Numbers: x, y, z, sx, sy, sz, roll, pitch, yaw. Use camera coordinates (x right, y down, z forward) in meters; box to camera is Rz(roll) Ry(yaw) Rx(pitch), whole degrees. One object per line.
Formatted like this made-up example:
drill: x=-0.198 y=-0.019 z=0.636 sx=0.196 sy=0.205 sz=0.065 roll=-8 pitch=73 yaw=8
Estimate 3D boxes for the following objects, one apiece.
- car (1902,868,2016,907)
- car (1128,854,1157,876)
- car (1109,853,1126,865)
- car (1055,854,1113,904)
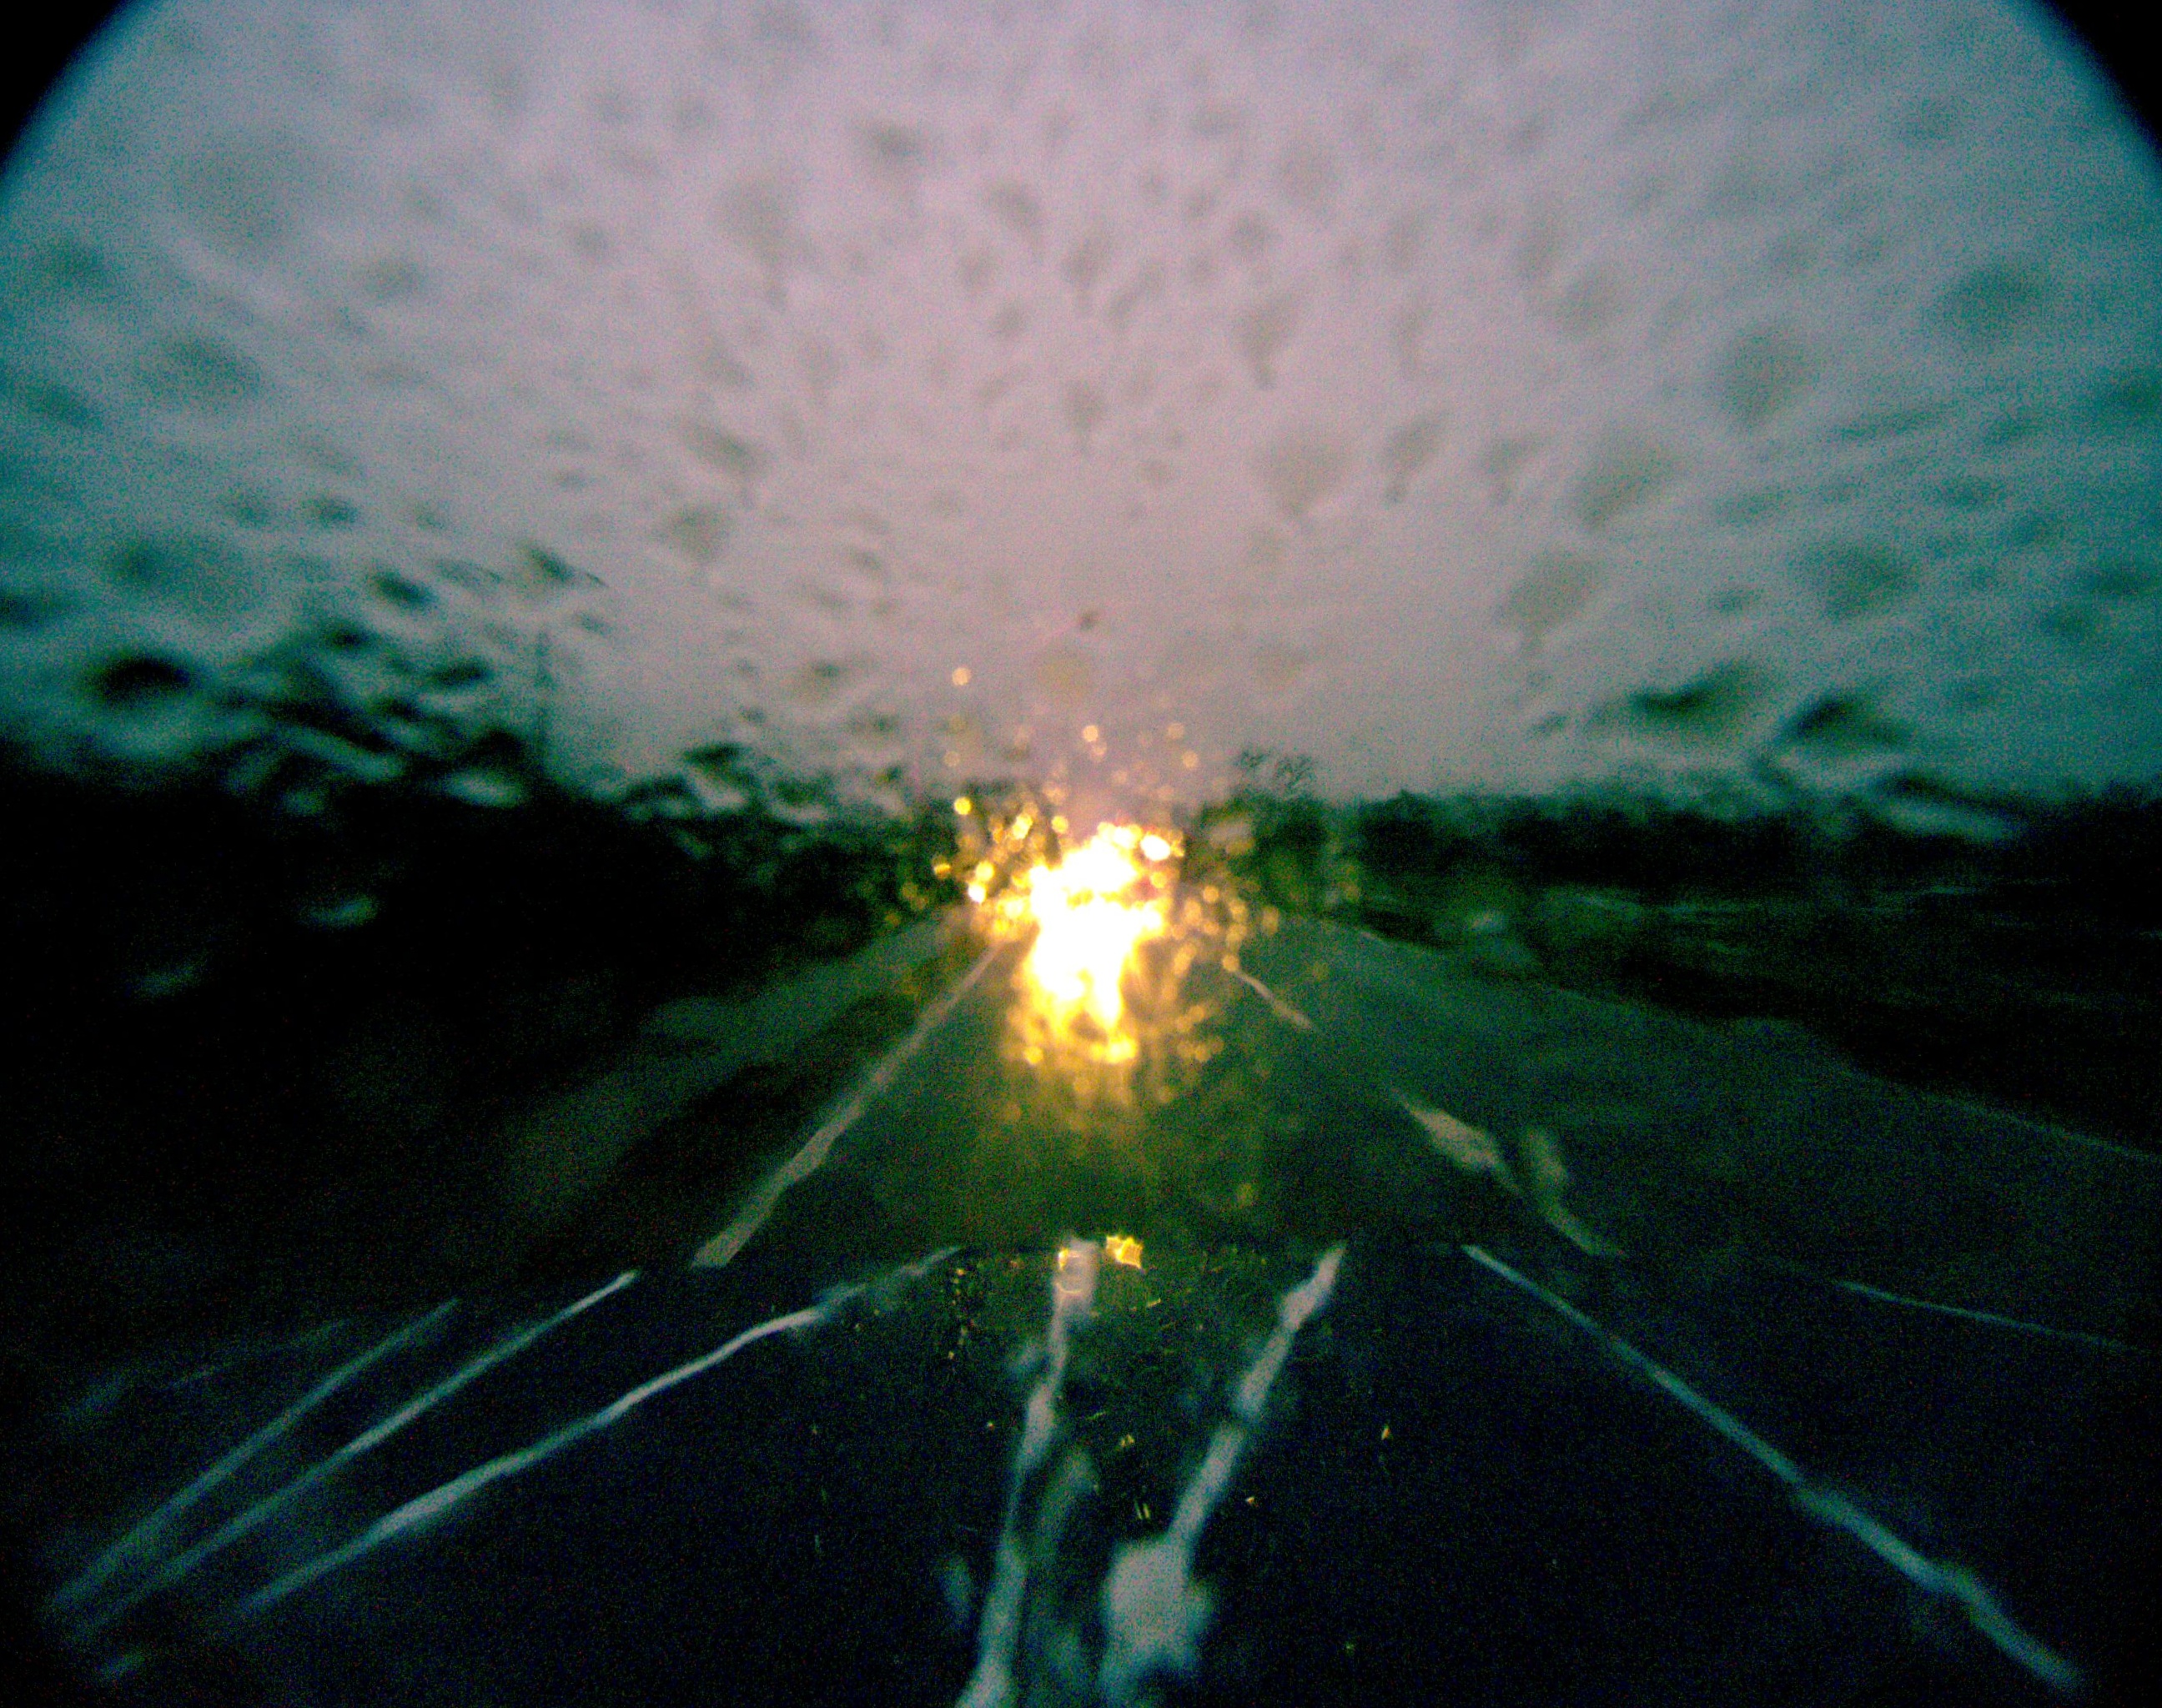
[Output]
car: x=35.378 y=1.333 z=30.629 sx=3.453 sy=1.334 sz=1.597 roll=-2 pitch=1 yaw=-13
car: x=4.435 y=0.751 z=55.223 sx=1.766 sy=1.546 sz=4.000 roll=0 pitch=0 yaw=0
car: x=4.847 y=0.701 z=101.335 sx=1.860 sy=1.508 sz=4.515 roll=1 pitch=0 yaw=-2
car: x=0.120 y=0.812 z=26.975 sx=1.860 sy=1.604 sz=4.000 roll=-1 pitch=0 yaw=1
